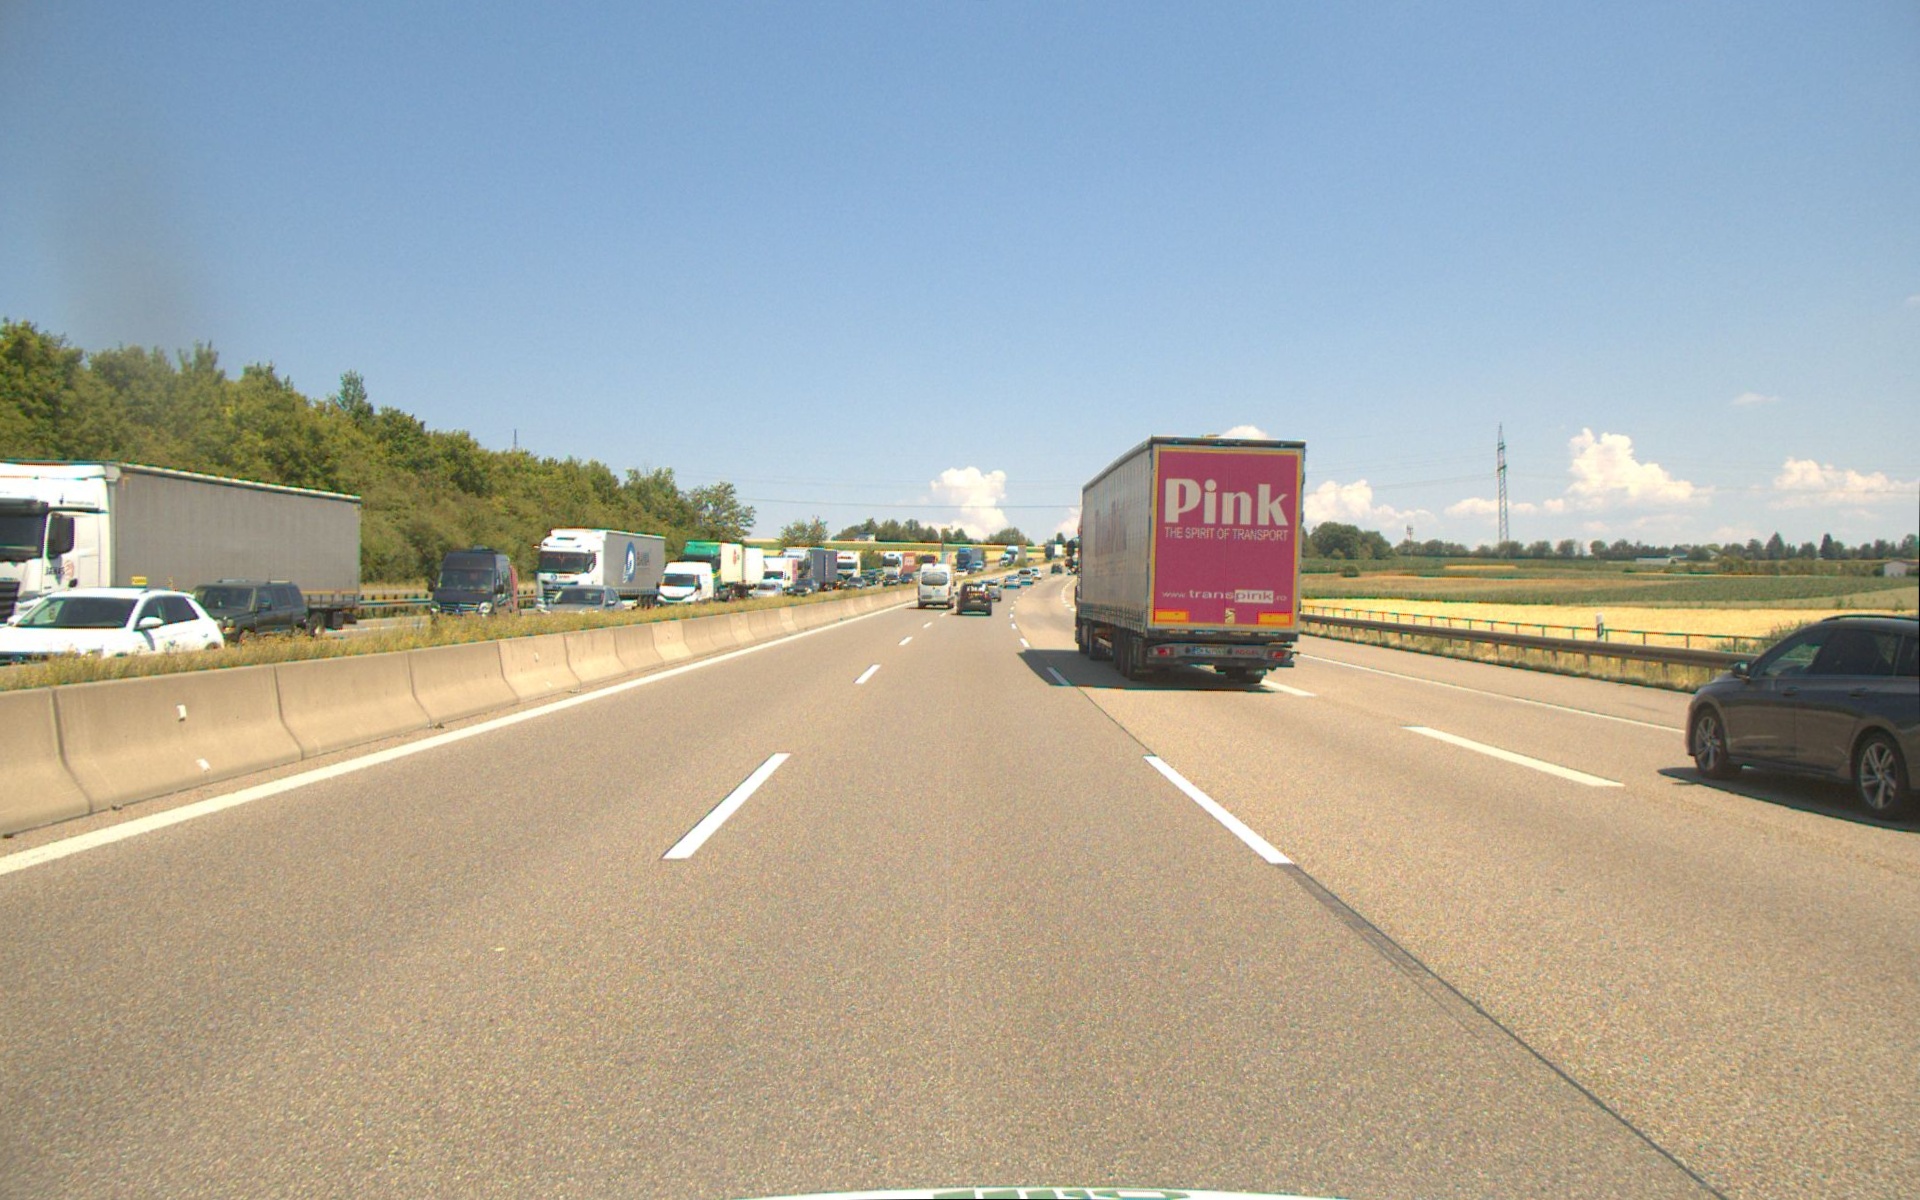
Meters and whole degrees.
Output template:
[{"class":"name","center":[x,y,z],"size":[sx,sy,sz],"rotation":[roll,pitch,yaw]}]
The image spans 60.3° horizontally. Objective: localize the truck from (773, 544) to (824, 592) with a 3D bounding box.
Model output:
[{"class":"truck","center":[-14.979,-2.977,154.294],"size":[2.938,4.307,10.740],"rotation":[0,1,4]}]

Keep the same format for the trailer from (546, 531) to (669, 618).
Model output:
[{"class":"trailer","center":[-18.159,-1.333,86.457],"size":[2.842,4.157,14.450],"rotation":[0,1,2]}]

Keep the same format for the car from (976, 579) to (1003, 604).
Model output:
[{"class":"car","center":[2.177,-0.621,123.189],"size":[1.953,1.780,3.999],"rotation":[1,-1,0]}]

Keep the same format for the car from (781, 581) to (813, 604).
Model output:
[{"class":"car","center":[-12.714,-0.578,129.399],"size":[1.823,1.670,5.114],"rotation":[0,-1,1]}]

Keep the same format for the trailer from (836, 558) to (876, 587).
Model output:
[{"class":"trailer","center":[-12.015,-3.272,192.252],"size":[2.798,3.261,12.792],"rotation":[1,1,4]}]

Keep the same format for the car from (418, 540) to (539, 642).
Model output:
[{"class":"car","center":[-15.433,-0.329,53.436],"size":[2.192,3.066,6.549],"rotation":[0,1,-2]}]

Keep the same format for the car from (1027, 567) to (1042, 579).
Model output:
[{"class":"car","center":[10.694,-3.868,237.074],"size":[1.951,1.578,4.003],"rotation":[2,3,4]}]

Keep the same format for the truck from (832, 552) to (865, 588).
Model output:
[{"class":"truck","center":[-12.514,-3.417,185.455],"size":[2.840,3.944,6.182],"rotation":[1,1,4]}]

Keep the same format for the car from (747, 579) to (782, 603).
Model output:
[{"class":"car","center":[-13.383,-0.605,113.588],"size":[1.715,1.486,4.859],"rotation":[1,-1,1]}]

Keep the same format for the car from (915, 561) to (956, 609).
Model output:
[{"class":"car","center":[-1.388,-0.853,97.145],"size":[2.134,2.671,4.673],"rotation":[1,-1,2]}]

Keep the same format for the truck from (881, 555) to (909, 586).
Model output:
[{"class":"truck","center":[-8.899,-4.080,226.370],"size":[2.971,4.152,6.320],"rotation":[1,1,5]}]

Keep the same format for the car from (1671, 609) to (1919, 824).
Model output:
[{"class":"car","center":[7.522,0.843,13.133],"size":[1.725,1.497,4.535],"rotation":[1,-1,-1]}]

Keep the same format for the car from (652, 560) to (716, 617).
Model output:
[{"class":"car","center":[-14.357,-0.543,86.311],"size":[2.095,2.835,6.625],"rotation":[1,-1,1]}]

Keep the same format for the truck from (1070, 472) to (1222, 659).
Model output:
[{"class":"truck","center":[4.327,-0.805,39.752],"size":[2.857,4.078,6.511],"rotation":[1,1,0]}]

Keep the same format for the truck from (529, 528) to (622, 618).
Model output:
[{"class":"truck","center":[-18.371,-1.288,79.449],"size":[2.794,4.107,6.605],"rotation":[0,1,1]}]

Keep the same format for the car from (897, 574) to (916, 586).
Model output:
[{"class":"car","center":[-6.785,-2.565,209.336],"size":[1.952,1.480,5.173],"rotation":[0,1,3]}]

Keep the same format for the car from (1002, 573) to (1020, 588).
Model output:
[{"class":"car","center":[5.622,-2.115,182.495],"size":[1.952,1.612,4.001],"rotation":[0,0,1]}]

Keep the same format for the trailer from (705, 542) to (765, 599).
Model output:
[{"class":"trailer","center":[-16.870,-2.222,124.340],"size":[2.859,4.142,8.234],"rotation":[-1,1,3]}]

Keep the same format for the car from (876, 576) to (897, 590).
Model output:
[{"class":"car","center":[-8.581,-2.022,193.244],"size":[1.952,1.554,4.775],"rotation":[1,1,3]}]

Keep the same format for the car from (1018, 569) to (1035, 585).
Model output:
[{"class":"car","center":[8.237,-2.840,205.509],"size":[1.952,1.937,4.000],"rotation":[0,-1,1]}]

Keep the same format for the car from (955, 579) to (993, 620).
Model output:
[{"class":"car","center":[0.692,-0.056,85.115],"size":[1.810,1.893,4.206],"rotation":[0,3,-1]}]

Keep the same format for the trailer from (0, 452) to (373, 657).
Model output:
[{"class":"trailer","center":[-18.976,-0.967,42.005],"size":[2.920,4.280,14.193],"rotation":[1,0,0]}]

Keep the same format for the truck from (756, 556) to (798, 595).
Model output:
[{"class":"truck","center":[-15.717,-2.106,142.414],"size":[2.485,3.263,7.592],"rotation":[0,1,2]}]

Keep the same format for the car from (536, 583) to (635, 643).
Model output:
[{"class":"car","center":[-11.223,0.356,49.894],"size":[1.892,1.718,4.796],"rotation":[0,0,0]}]

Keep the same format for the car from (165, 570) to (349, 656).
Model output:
[{"class":"car","center":[-15.102,0.256,35.843],"size":[1.953,1.745,4.791],"rotation":[0,0,0]}]

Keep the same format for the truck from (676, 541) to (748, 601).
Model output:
[{"class":"truck","center":[-17.228,-2.030,115.745],"size":[2.783,3.966,11.252],"rotation":[-1,1,3]}]

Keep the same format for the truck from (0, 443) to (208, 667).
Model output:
[{"class":"truck","center":[-18.990,-0.887,35.049],"size":[2.900,4.283,6.605],"rotation":[1,0,1]}]

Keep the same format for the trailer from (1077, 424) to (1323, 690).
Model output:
[{"class":"trailer","center":[4.309,-0.772,33.287],"size":[2.859,4.189,13.858],"rotation":[1,1,0]}]

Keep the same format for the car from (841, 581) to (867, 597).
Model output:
[{"class":"car","center":[-10.333,-1.080,161.319],"size":[1.952,1.572,5.496],"rotation":[0,1,2]}]

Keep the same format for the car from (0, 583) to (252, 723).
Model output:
[{"class":"car","center":[-11.324,0.658,22.029],"size":[1.953,1.672,4.405],"rotation":[0,-1,-1]}]
